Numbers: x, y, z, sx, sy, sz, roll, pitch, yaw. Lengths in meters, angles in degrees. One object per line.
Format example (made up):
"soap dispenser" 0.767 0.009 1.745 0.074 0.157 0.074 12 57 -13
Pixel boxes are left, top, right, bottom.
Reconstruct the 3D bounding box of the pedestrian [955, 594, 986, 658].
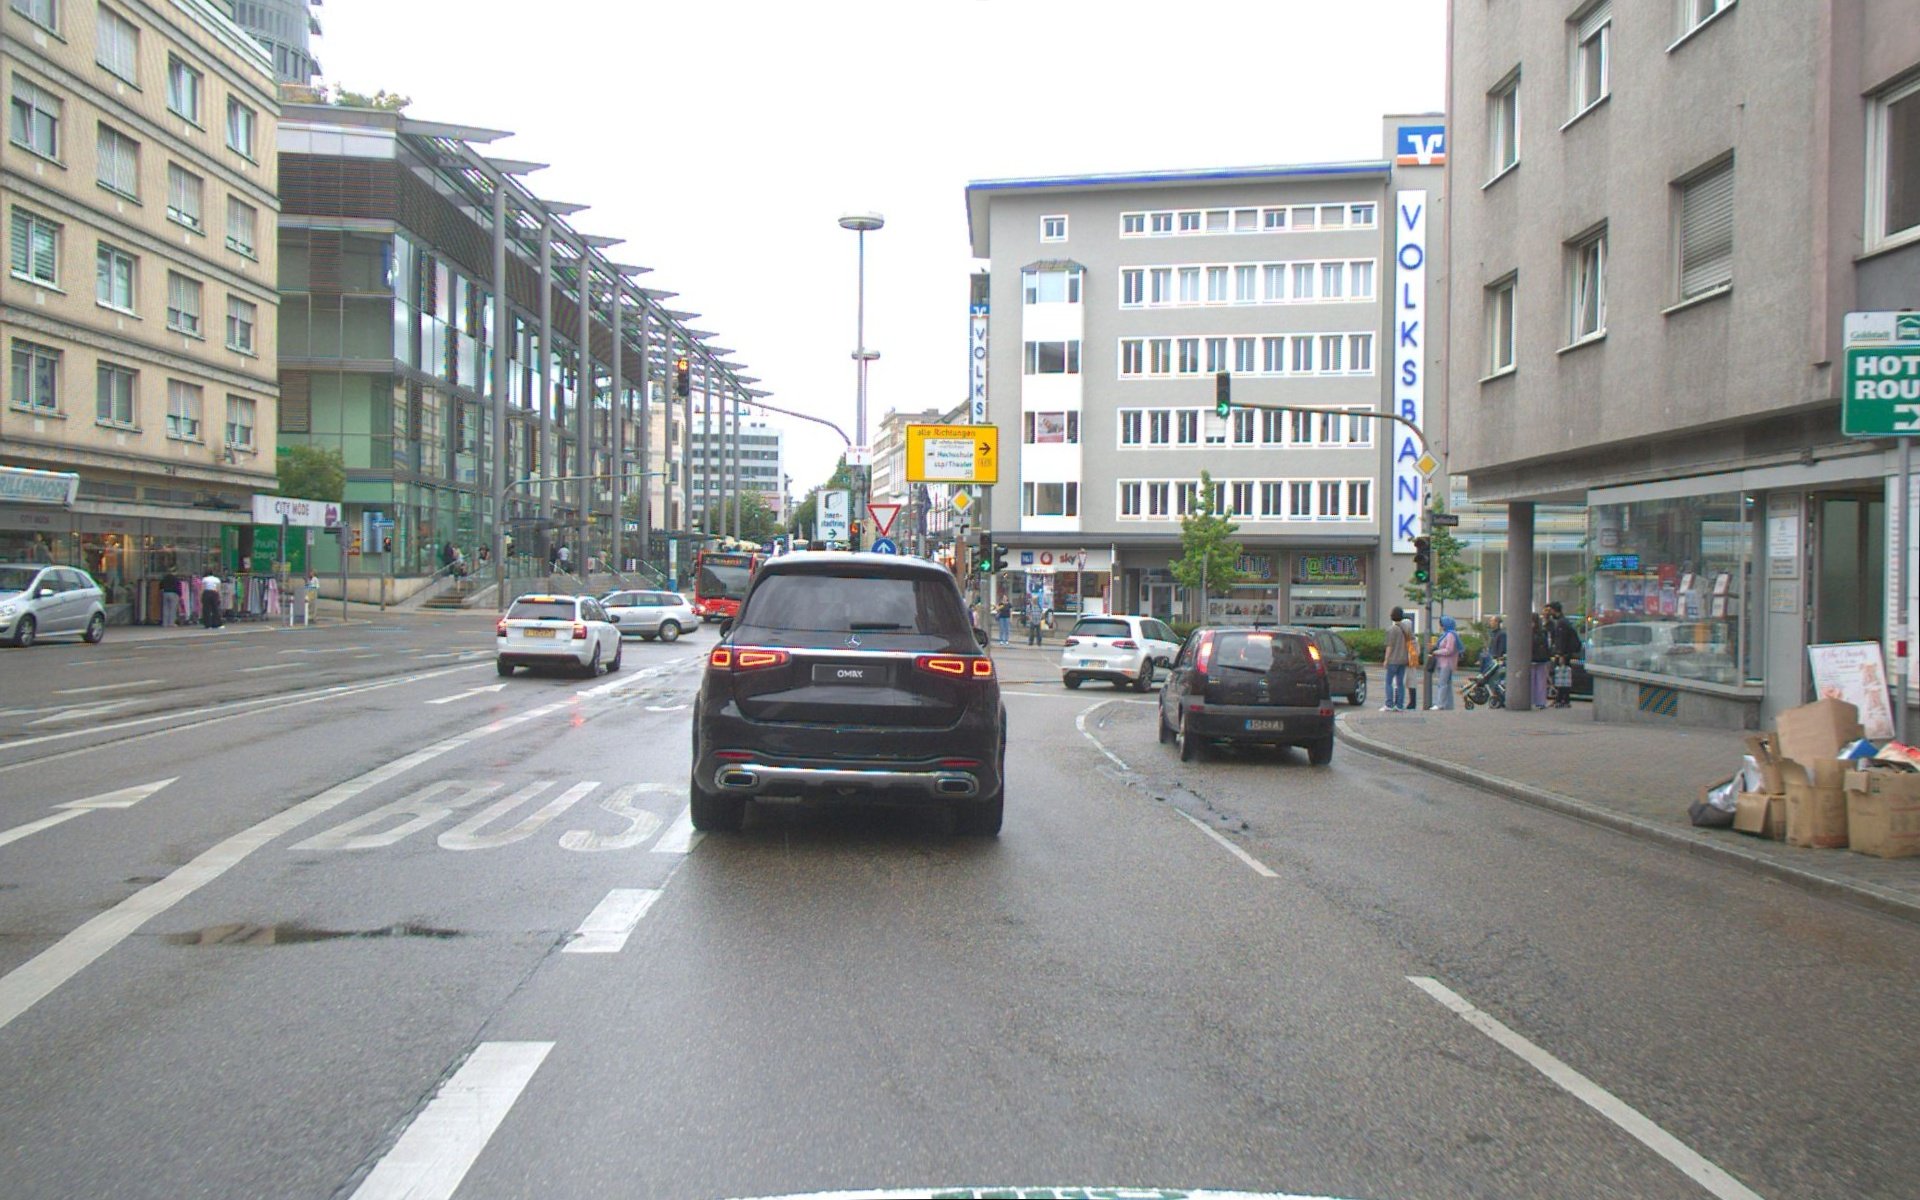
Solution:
"pedestrian" 0.267 0.656 42.561 0.698 1.595 0.855 3 -1 2

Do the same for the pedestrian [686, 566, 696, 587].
"pedestrian" -18.399 -1.592 113.035 0.499 1.364 0.420 3 0 3

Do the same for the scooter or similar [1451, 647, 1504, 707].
"scooter or similar" 9.912 1.473 31.687 0.949 1.128 0.655 -1 -1 17

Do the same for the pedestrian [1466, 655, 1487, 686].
"pedestrian" 9.906 1.346 31.720 0.363 0.581 0.459 -1 -1 17

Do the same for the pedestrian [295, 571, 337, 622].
"pedestrian" -20.896 -0.113 53.721 0.853 1.614 1.154 1 0 1

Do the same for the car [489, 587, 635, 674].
"car" -7.302 0.516 30.784 1.756 1.440 4.629 1 1 -3

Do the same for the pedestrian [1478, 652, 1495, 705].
"pedestrian" 10.242 1.526 32.172 0.255 1.017 0.472 -3 -2 20

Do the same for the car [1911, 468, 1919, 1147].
"car" 3.654 0.595 2.391 1.869 1.816 4.298 0 1 -4

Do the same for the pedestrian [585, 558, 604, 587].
"pedestrian" -23.102 -1.736 104.507 1.019 1.742 1.006 2 0 -8

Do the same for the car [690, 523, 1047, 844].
"car" -0.745 0.457 12.046 2.047 1.848 4.787 1 1 -5

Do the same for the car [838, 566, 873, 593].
"car" -7.722 -1.516 122.748 2.374 1.811 5.152 3 0 -2

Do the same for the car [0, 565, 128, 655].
"car" -18.785 0.141 33.412 1.811 1.577 4.398 3 1 -3

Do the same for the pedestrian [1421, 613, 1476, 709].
"pedestrian" 8.648 1.087 29.267 0.731 1.664 0.593 -4 -5 39

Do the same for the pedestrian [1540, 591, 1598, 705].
"pedestrian" 10.685 0.841 29.046 0.800 1.965 0.732 0 -2 6

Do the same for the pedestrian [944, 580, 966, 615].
"pedestrian" -0.260 -0.135 89.639 1.003 1.806 0.798 3 0 -8

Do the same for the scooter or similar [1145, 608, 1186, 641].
"scooter or similar" 8.318 0.992 67.049 1.465 1.278 0.931 2 -1 18

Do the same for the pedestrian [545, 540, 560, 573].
"pedestrian" -22.548 -2.400 91.470 0.668 1.742 0.849 2 0 -8

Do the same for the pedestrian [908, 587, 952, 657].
"pedestrian" -0.758 0.546 41.562 0.958 1.701 0.915 3 0 3

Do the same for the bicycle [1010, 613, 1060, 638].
"bicycle" 3.308 1.126 72.615 2.092 1.010 0.695 2 0 12

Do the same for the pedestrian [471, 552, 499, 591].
"pedestrian" -21.813 -1.309 75.945 1.019 1.742 1.006 2 0 -8

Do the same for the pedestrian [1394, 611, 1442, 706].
"pedestrian" 8.287 1.070 29.947 0.528 1.666 0.838 -2 -4 -3

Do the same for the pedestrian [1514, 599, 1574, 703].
"pedestrian" 9.948 0.868 28.201 0.818 1.753 0.618 0 -3 6

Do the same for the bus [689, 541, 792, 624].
"bus" -10.209 -0.755 79.114 2.861 3.378 18.472 2 0 -2

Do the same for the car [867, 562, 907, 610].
"car" -5.014 -0.960 112.867 2.396 3.009 6.148 3 0 -4

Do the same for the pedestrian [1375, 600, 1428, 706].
"pedestrian" 7.285 0.875 27.291 0.615 1.722 0.780 -1 -2 33

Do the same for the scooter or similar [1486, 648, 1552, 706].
"scooter or similar" 9.806 1.352 29.040 0.755 1.003 1.047 0 -3 -3

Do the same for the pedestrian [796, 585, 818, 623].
"pedestrian" -7.954 0.227 86.030 0.934 1.919 0.810 3 0 4

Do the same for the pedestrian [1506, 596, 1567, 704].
"pedestrian" 10.383 0.905 29.806 0.818 1.898 0.658 -1 -4 2

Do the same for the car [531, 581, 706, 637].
"car" -9.995 0.277 48.488 4.694 1.471 1.771 2 0 -33

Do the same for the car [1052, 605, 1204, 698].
"car" 3.485 0.986 33.702 1.911 1.601 3.999 4 2 23

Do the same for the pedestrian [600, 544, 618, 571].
"pedestrian" -23.962 -2.898 112.974 1.019 1.742 1.006 2 0 -8

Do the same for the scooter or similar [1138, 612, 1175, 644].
"scooter or similar" 7.743 1.105 65.308 1.351 1.208 0.544 1 0 18

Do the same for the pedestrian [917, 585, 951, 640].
"pedestrian" -0.882 0.418 55.959 0.991 1.818 0.852 3 0 -8

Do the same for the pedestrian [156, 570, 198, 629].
"pedestrian" -21.187 -0.017 44.751 0.769 1.563 0.681 2 0 -4

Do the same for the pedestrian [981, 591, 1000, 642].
"pedestrian" 1.021 0.541 55.591 0.557 1.698 0.502 2 0 5

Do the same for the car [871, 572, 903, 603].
"car" -4.690 -0.809 106.318 1.824 1.857 4.100 3 0 -5

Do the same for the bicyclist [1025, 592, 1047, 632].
"bicyclist" 3.333 0.511 72.625 0.826 1.734 0.623 1 0 12

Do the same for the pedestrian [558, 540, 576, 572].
"pedestrian" -21.841 -2.443 91.971 0.812 1.742 0.801 2 0 -8

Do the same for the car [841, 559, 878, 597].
"car" -9.978 -2.174 164.650 2.392 3.525 6.158 3 0 8

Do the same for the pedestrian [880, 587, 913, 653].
"pedestrian" -1.686 0.542 44.227 0.740 1.721 0.693 3 -2 2

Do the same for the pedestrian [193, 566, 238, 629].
"pedestrian" -20.196 -0.068 44.848 0.762 1.656 0.839 2 0 44

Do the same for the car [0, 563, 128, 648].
"car" -18.749 0.078 33.465 1.665 1.590 4.201 2 0 0

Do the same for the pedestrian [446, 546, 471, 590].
"pedestrian" -23.580 -1.510 77.792 0.857 2.015 0.849 2 0 -3

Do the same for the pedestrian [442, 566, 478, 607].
"pedestrian" -21.735 -0.579 71.944 1.018 1.742 1.007 2 0 25

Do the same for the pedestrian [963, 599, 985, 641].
"pedestrian" 0.462 0.676 55.625 0.618 1.362 0.587 3 0 -8

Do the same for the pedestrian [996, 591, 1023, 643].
"pedestrian" 1.672 0.572 55.594 0.764 1.718 0.639 3 0 7

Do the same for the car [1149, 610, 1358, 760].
"car" 3.196 0.888 18.672 1.682 1.445 3.770 2 -1 0

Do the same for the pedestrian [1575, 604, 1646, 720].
"pedestrian" 11.024 1.038 28.048 0.655 1.898 0.833 3 0 -22

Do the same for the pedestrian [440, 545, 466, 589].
"pedestrian" -23.559 -1.533 76.805 0.863 2.015 0.974 2 0 -3

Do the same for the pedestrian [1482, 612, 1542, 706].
"pedestrian" 10.500 1.110 31.510 1.013 1.753 0.839 0 -1 15

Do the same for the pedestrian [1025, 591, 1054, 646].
"pedestrian" 2.713 0.631 56.777 0.814 1.809 0.616 3 0 -8

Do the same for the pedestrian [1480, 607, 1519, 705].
"pedestrian" 10.744 1.120 32.950 0.602 1.900 0.787 -2 -5 13

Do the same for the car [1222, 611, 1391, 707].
"car" 6.811 1.094 32.251 1.915 1.601 3.990 4 2 32
